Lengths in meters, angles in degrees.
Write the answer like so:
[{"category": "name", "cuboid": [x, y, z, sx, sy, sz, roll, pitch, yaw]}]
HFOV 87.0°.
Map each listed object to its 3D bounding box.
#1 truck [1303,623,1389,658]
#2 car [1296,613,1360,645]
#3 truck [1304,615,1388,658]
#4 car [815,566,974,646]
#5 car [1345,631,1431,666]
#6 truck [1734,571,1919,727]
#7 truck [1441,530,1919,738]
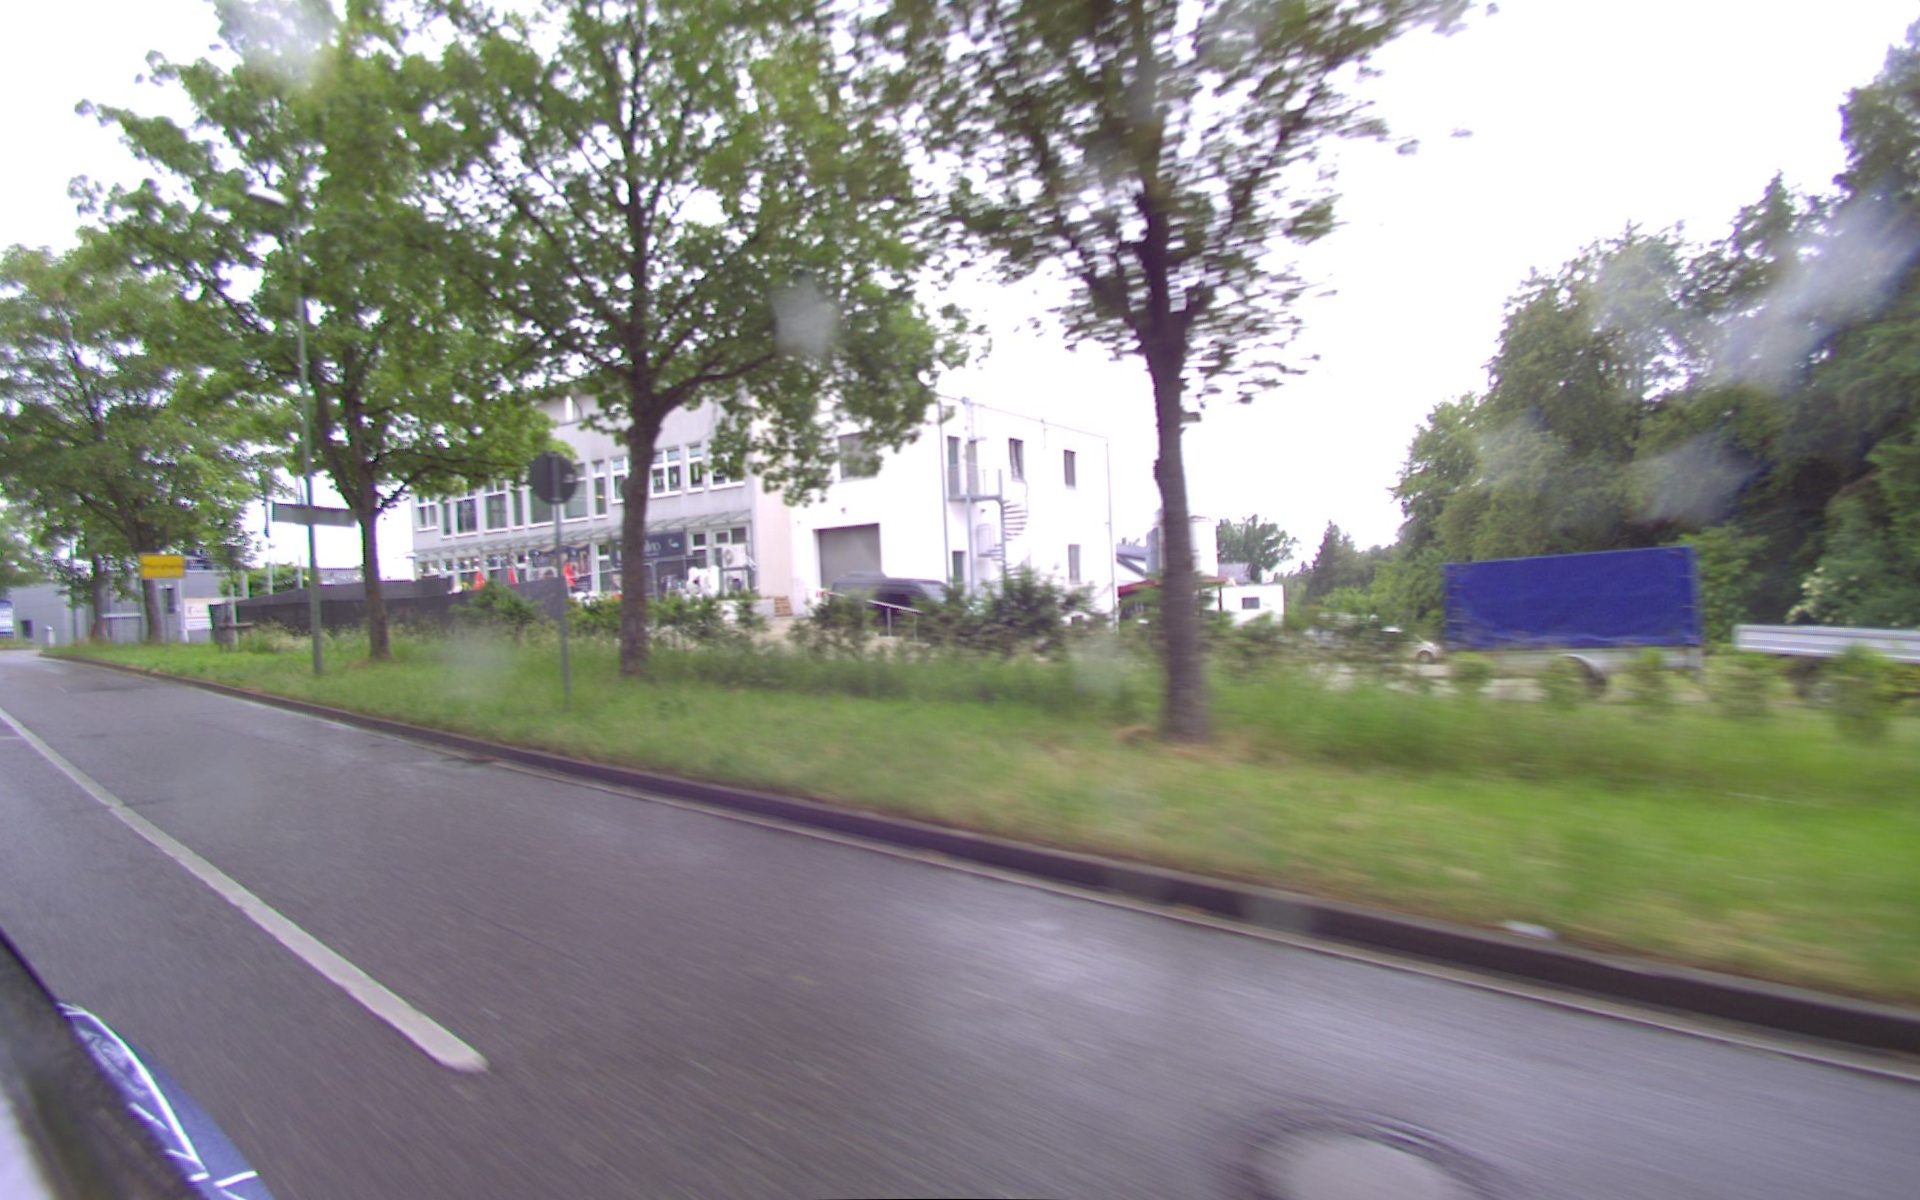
[{"category": "truck", "cuboid": [22.892, 2.378, 60.039, 4.506, 1.917, 1.980, -1, 0, 30]}, {"category": "car", "cuboid": [24.833, 1.974, 68.413, 3.972, 2.029, 1.986, -1, 0, 21]}, {"category": "truck", "cuboid": [24.160, 2.290, 63.355, 4.666, 2.529, 1.982, -1, 0, 27]}, {"category": "car", "cuboid": [-2.258, 0.117, 33.679, 5.221, 1.929, 1.887, 9, 6, 37]}, {"category": "car", "cuboid": [24.051, 2.680, 56.912, 4.205, 1.819, 1.686, -1, 0, 34]}, {"category": "truck", "cuboid": [15.046, 0.664, 14.245, 1.966, 2.218, 6.258, -3, 0, -29]}, {"category": "truck", "cuboid": [9.940, 0.459, 14.433, 5.214, 2.476, 1.975, -2, 0, 37]}]
